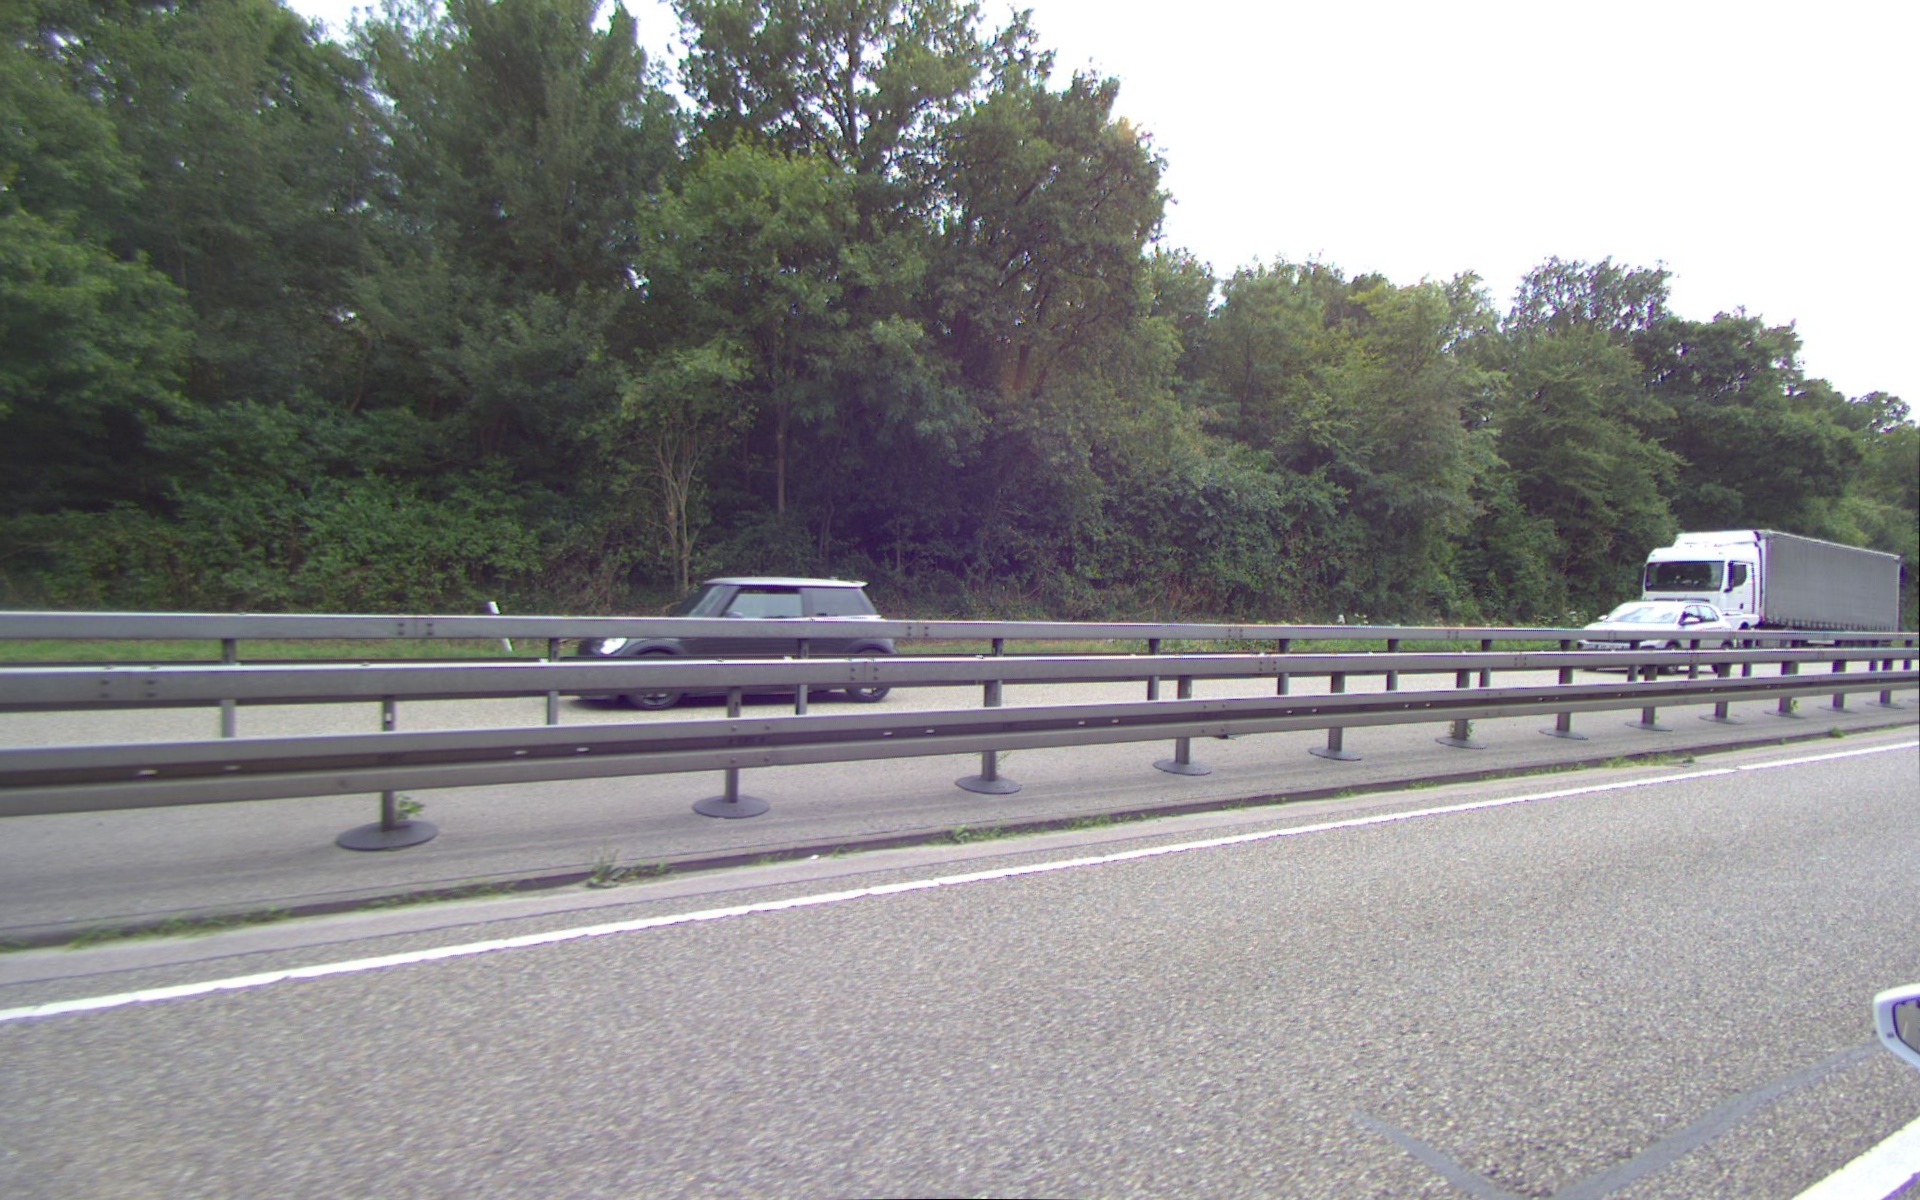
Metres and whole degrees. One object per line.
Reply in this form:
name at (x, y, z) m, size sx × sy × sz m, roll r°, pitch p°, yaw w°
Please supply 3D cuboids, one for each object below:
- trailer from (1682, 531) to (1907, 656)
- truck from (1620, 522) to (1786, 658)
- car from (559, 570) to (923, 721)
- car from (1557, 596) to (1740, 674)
trailer at (31.470, -0.084, 37.570) m, size 12.730 × 4.100 × 2.649 m, roll 1°, pitch -1°, yaw -32°
truck at (24.534, -0.250, 33.128) m, size 5.264 × 4.117 × 2.677 m, roll 1°, pitch -1°, yaw -32°
car at (-2.461, 0.482, 11.481) m, size 3.732 × 1.466 × 1.700 m, roll 1°, pitch -1°, yaw -30°
car at (15.170, 0.754, 22.099) m, size 4.081 × 1.570 × 1.783 m, roll 1°, pitch -1°, yaw -31°
